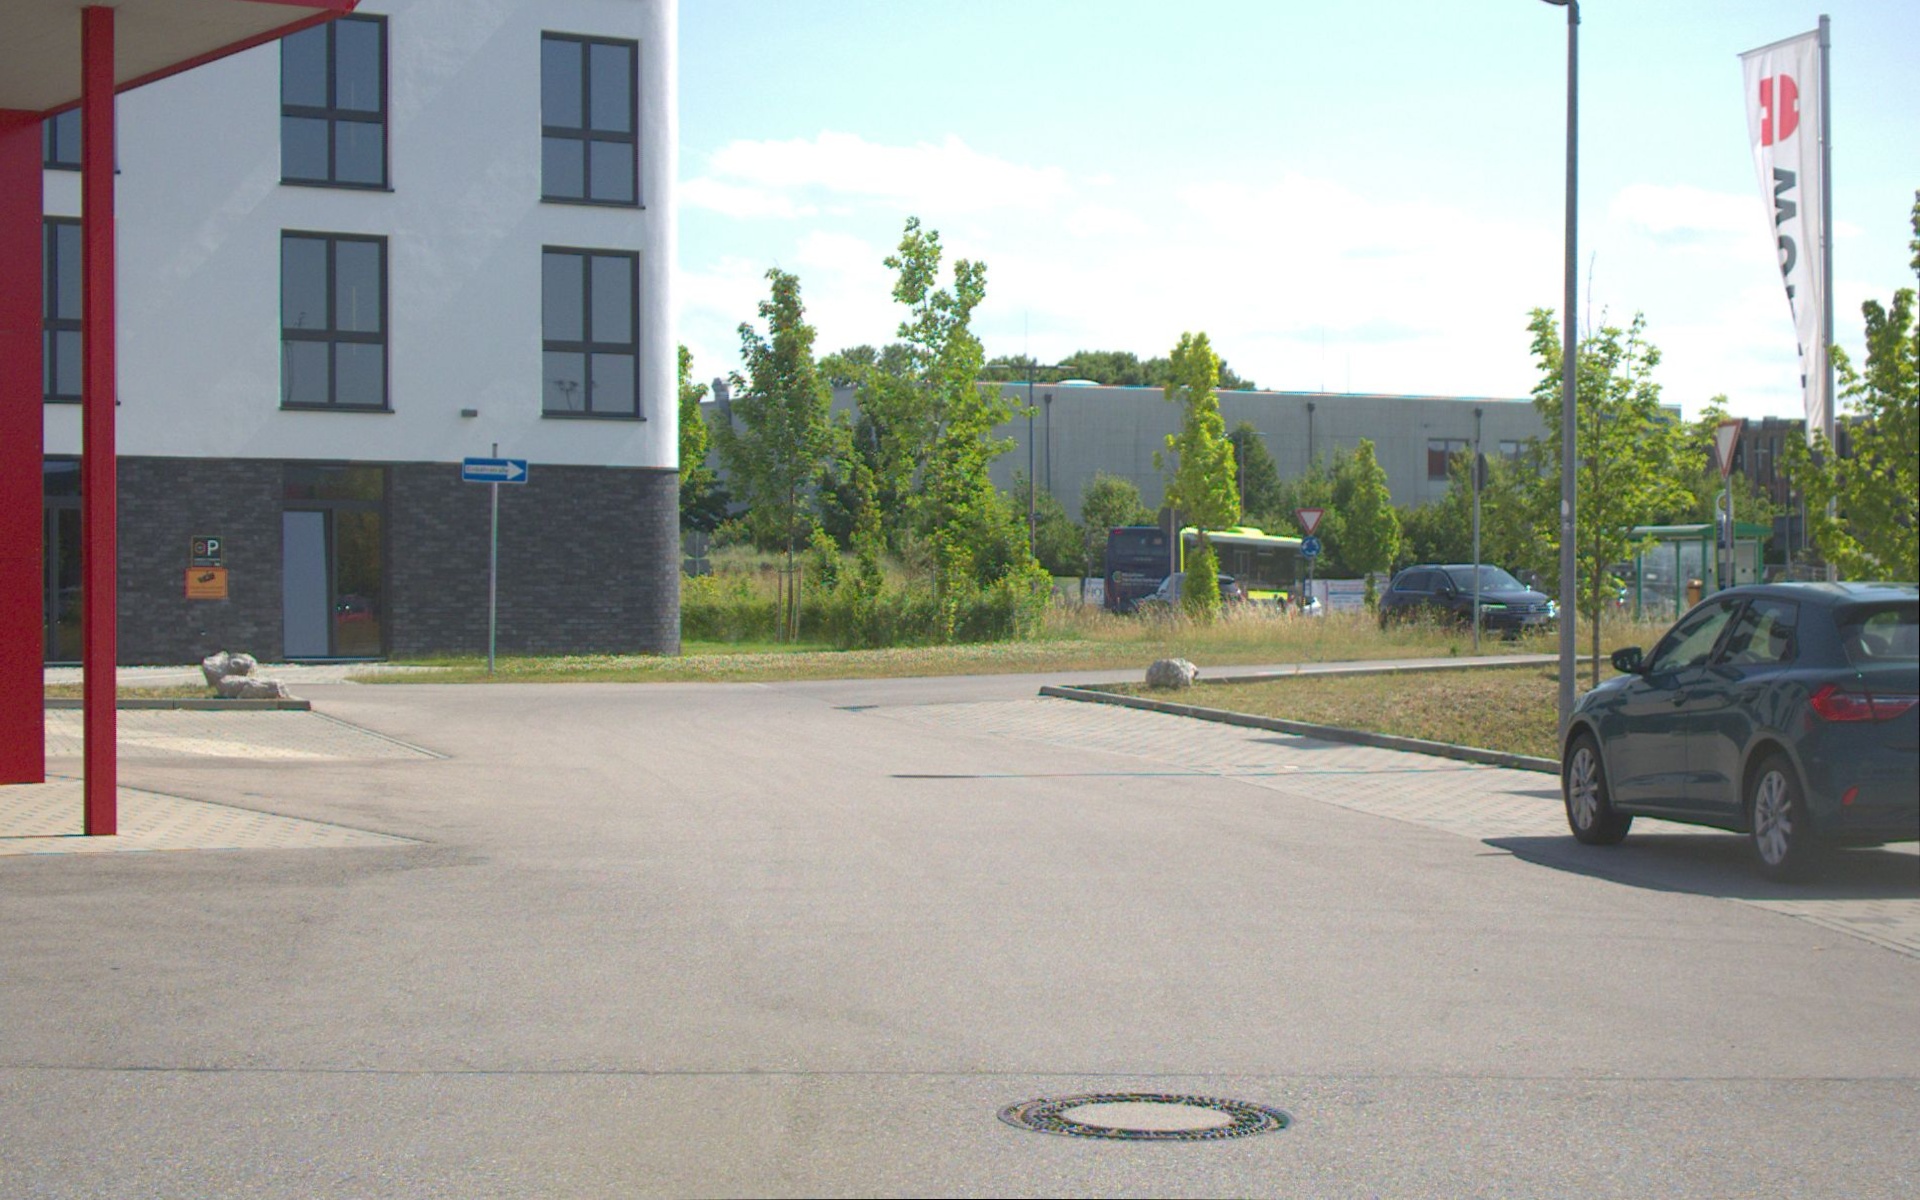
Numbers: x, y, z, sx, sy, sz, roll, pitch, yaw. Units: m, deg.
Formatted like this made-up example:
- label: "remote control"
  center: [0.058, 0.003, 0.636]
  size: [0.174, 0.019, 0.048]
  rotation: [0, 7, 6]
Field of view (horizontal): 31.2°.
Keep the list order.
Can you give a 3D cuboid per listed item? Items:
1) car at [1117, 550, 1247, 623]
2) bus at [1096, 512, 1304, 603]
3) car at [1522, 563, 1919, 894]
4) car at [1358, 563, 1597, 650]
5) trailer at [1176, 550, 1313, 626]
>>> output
- label: "car"
  center: [5.854, -0.375, 91.026]
  size: [1.822, 1.853, 4.001]
  rotation: [1, 1, -23]
- label: "bus"
  center: [7.745, -1.371, 108.838]
  size: [2.575, 2.726, 11.553]
  rotation: [0, 1, 25]
- label: "car"
  center: [4.417, 0.548, 17.487]
  size: [1.839, 1.444, 4.228]
  rotation: [0, 1, -9]
- label: "car"
  center: [9.699, 0.110, 64.816]
  size: [1.940, 1.546, 4.761]
  rotation: [1, 1, -29]
- label: "trailer"
  center: [7.194, -0.320, 87.373]
  size: [1.822, 1.853, 4.001]
  rotation: [1, 1, -23]
